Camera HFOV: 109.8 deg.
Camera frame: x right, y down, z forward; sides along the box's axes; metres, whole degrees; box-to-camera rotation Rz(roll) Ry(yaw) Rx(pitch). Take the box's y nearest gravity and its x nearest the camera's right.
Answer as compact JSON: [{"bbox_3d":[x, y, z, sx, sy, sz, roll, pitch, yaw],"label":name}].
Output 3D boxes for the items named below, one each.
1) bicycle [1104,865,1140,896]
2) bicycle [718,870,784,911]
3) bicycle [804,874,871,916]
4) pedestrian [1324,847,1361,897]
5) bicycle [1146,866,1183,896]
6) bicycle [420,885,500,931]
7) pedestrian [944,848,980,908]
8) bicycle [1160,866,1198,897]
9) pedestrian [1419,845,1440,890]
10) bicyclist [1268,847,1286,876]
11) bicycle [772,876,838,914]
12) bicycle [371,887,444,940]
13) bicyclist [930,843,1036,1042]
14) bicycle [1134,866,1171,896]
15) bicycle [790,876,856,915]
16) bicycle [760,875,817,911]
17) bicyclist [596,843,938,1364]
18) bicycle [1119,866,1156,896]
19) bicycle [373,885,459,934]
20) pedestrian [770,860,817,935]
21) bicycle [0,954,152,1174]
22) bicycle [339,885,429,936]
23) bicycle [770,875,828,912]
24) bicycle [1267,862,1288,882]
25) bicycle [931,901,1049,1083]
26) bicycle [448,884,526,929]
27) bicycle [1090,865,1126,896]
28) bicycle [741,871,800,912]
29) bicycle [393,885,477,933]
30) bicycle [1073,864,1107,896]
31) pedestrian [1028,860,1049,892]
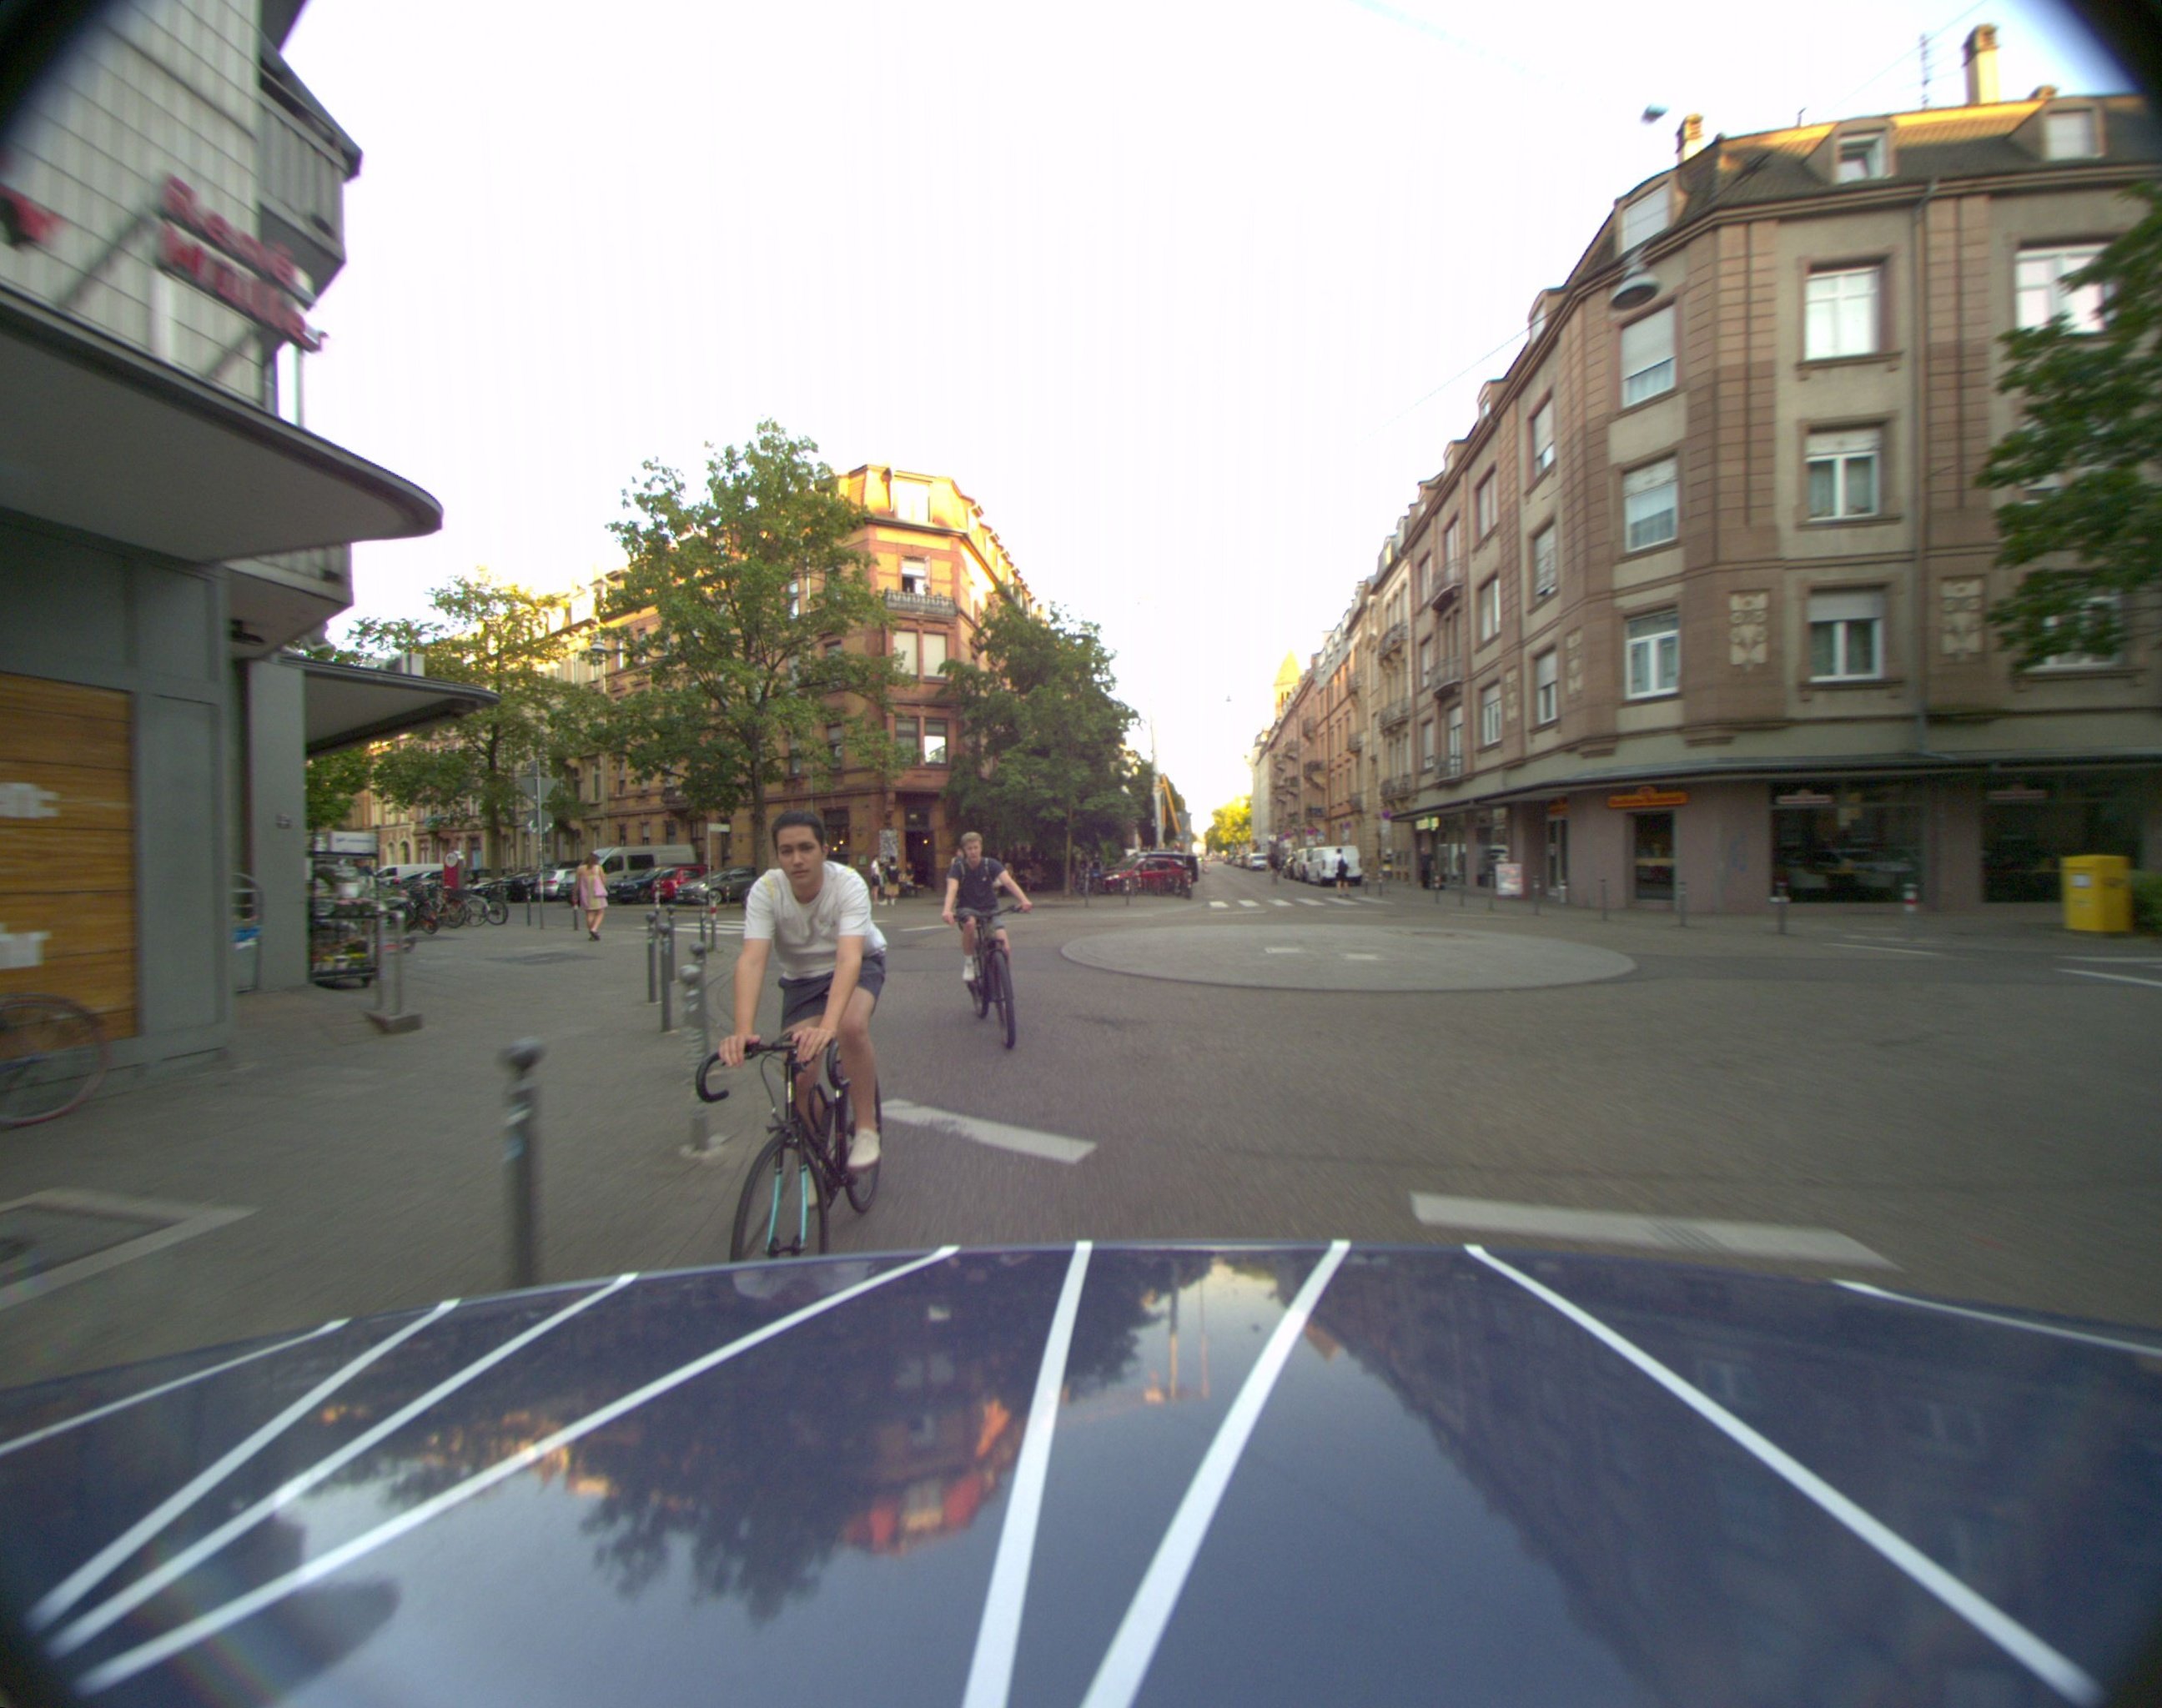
[{"bbox_3d":[1.601,1.044,30.221,0.666,1.125,2.112,1,0,-19],"label":"bicycle"},{"bbox_3d":[-11.163,1.217,25.767,0.710,1.232,1.888,0,2,41],"label":"bicycle"},{"bbox_3d":[-7.512,1.230,23.537,0.710,1.148,1.888,-1,2,35],"label":"bicycle"},{"bbox_3d":[9.403,0.639,27.318,1.215,1.733,0.747,-3,1,-44],"label":"pedestrian"},{"bbox_3d":[3.412,1.083,31.132,0.666,1.162,2.112,1,0,-19],"label":"bicycle"},{"bbox_3d":[-15.466,1.326,18.937,1.780,1.076,0.570,0,0,13],"label":"bicycle"},{"bbox_3d":[-3.778,0.760,24.166,0.673,1.858,0.912,-1,2,23],"label":"pedestrian"},{"bbox_3d":[3.954,1.092,30.922,0.666,1.162,2.112,1,0,-19],"label":"bicycle"},{"bbox_3d":[13.892,0.537,30.282,0.654,1.768,0.693,-2,0,27],"label":"pedestrian"},{"bbox_3d":[11.188,0.439,43.399,0.754,1.630,1.201,-1,0,3],"label":"bicyclist"},{"bbox_3d":[-8.785,1.287,24.251,0.710,1.052,1.888,-1,2,35],"label":"bicycle"},{"bbox_3d":[-14.581,1.262,16.442,1.779,1.076,0.571,-1,-1,27],"label":"bicycle"},{"bbox_3d":[-0.856,0.707,6.525,0.794,1.562,0.825,-2,0,-10],"label":"bicyclist"},{"bbox_3d":[2.861,1.086,30.741,0.666,1.125,2.112,1,0,-19],"label":"bicycle"},{"bbox_3d":[-8.105,1.286,23.926,0.710,1.045,1.888,-1,2,35],"label":"bicycle"},{"bbox_3d":[-9.751,1.283,25.415,0.711,1.072,1.886,-1,1,19],"label":"bicycle"},{"bbox_3d":[-1.024,0.726,2.711,0.650,1.500,0.954,-1,2,11],"label":"bicyclist"},{"bbox_3d":[2.242,1.069,30.486,0.666,1.125,2.112,1,0,-19],"label":"bicycle"},{"bbox_3d":[-15.500,1.277,17.713,1.780,1.076,0.570,0,0,13],"label":"bicycle"},{"bbox_3d":[-6.332,0.938,16.762,0.538,1.597,0.870,0,-1,20],"label":"pedestrian"},{"bbox_3d":[-5.696,1.104,3.500,0.457,1.019,1.784,-2,1,7],"label":"bicycle"},{"bbox_3d":[-15.694,1.261,17.110,1.780,1.076,0.570,0,0,13],"label":"bicycle"},{"bbox_3d":[-9.281,1.285,25.061,0.711,1.072,1.886,-1,1,19],"label":"bicycle"},{"bbox_3d":[11.204,1.021,43.404,0.754,1.124,1.977,-1,0,3],"label":"bicycle"},{"bbox_3d":[-0.846,1.039,6.522,0.794,1.133,2.341,-2,-1,-10],"label":"bicycle"},{"bbox_3d":[-15.302,1.337,19.576,1.780,1.076,0.570,0,0,13],"label":"bicycle"},{"bbox_3d":[1.040,1.022,30.016,0.666,1.158,2.112,1,0,-19],"label":"bicycle"},{"bbox_3d":[-10.352,1.241,25.438,0.711,1.232,1.886,-1,1,19],"label":"bicycle"},{"bbox_3d":[-15.592,1.318,18.344,1.780,1.076,0.570,0,0,13],"label":"bicycle"},{"bbox_3d":[0.338,0.999,29.806,0.666,1.158,2.112,1,0,-19],"label":"bicycle"},{"bbox_3d":[-1.757,0.893,31.329,0.721,1.297,0.750,-1,0,-11],"label":"pedestrian"}]
